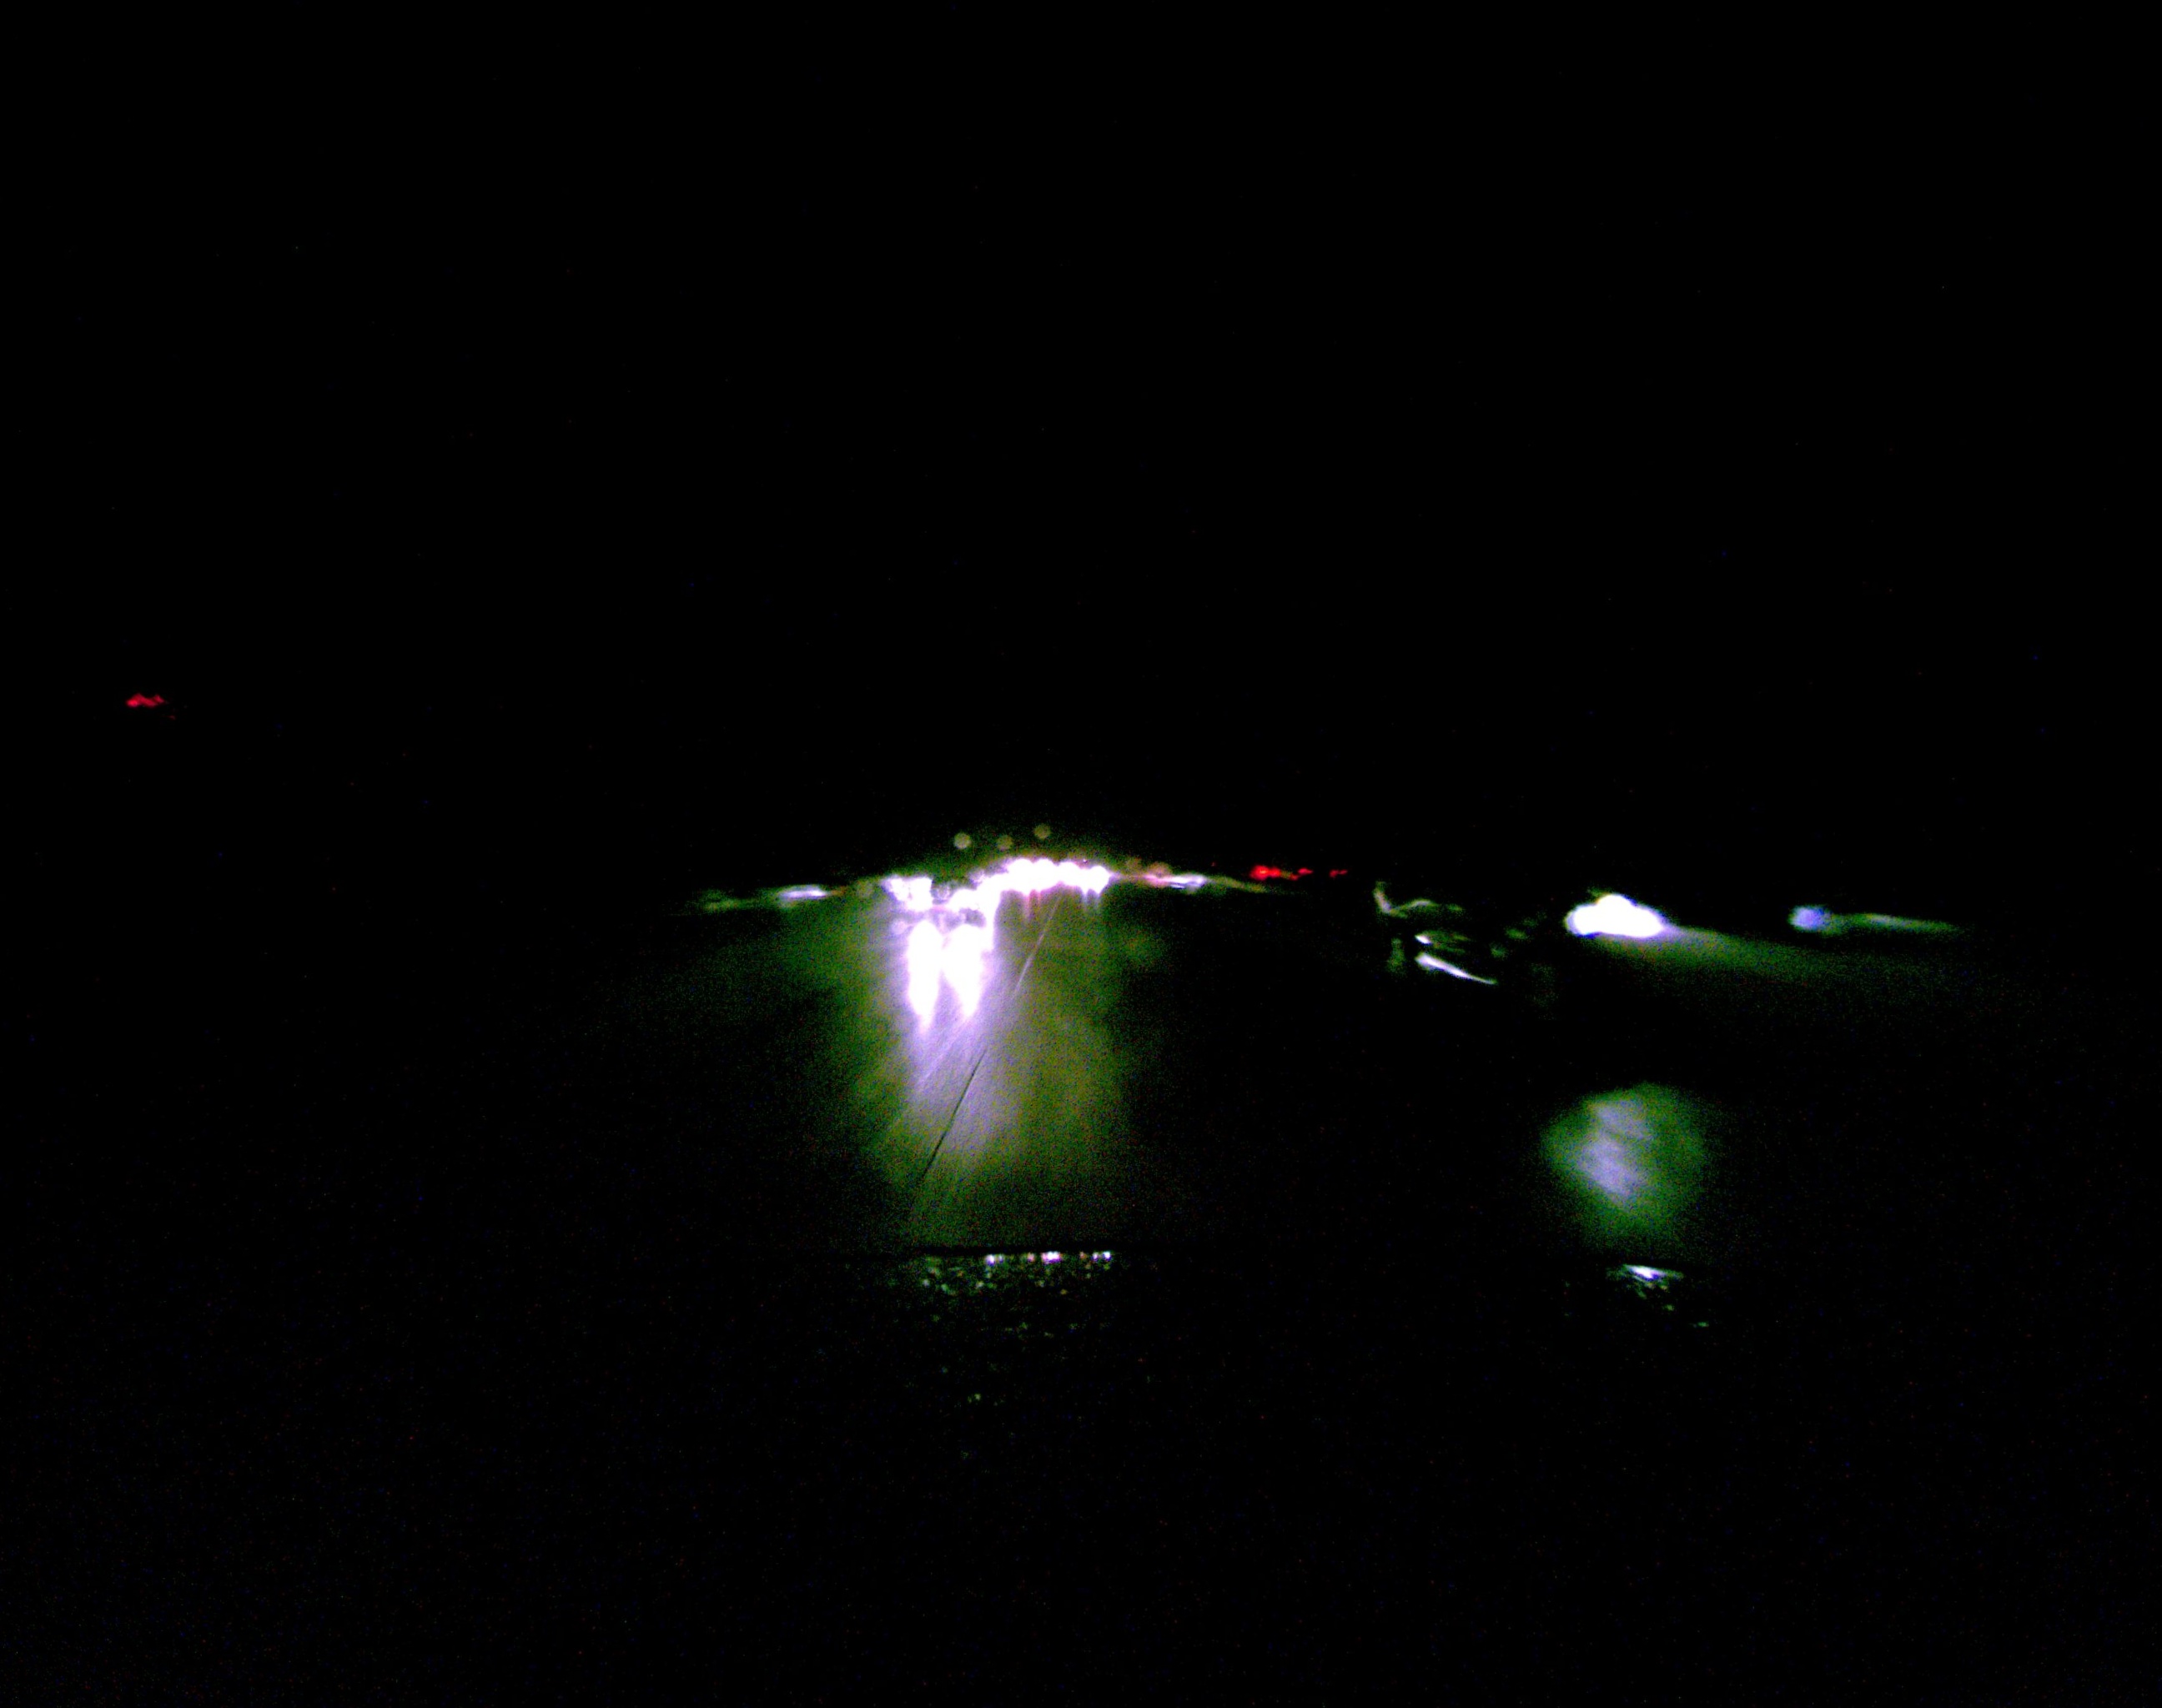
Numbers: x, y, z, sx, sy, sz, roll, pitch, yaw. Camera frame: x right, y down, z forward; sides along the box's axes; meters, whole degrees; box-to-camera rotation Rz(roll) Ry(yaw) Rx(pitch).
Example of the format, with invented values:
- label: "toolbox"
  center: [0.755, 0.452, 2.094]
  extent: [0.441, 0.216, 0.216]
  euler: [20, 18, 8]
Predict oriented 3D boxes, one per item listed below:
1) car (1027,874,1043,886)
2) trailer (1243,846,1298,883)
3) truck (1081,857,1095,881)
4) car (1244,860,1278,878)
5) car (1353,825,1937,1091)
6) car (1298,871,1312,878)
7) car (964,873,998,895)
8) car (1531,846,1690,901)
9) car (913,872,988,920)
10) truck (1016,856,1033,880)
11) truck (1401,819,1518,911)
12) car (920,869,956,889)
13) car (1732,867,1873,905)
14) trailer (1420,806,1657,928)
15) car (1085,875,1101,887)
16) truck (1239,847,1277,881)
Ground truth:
- label: "car"
  center: [-5.535, 3.148, 91.482]
  extent: [1.712, 1.286, 3.991]
  euler: [1, -3, -6]
- label: "trailer"
  center: [20.597, 1.079, 83.358]
  extent: [2.703, 3.726, 12.019]
  euler: [1, 0, -1]
- label: "truck"
  center: [1.292, 2.741, 142.627]
  extent: [2.503, 4.222, 5.981]
  euler: [1, 0, -1]
- label: "car"
  center: [16.736, 1.365, 70.829]
  extent: [1.999, 1.589, 4.593]
  euler: [1, 0, 0]
- label: "car"
  center: [5.017, 0.751, 8.183]
  extent: [2.142, 1.873, 5.555]
  euler: [-1, 0, 0]
- label: "car"
  center: [39.741, 3.653, 134.675]
  extent: [1.489, 1.277, 3.555]
  euler: [-2, -1, 1]
- label: "car"
  center: [-7.210, 2.171, 55.323]
  extent: [1.999, 1.440, 4.336]
  euler: [-3, -2, -2]
- label: "car"
  center: [17.232, 0.602, 25.087]
  extent: [1.999, 1.589, 4.593]
  euler: [1, 0, 0]
- label: "car"
  center: [-4.747, 1.482, 28.340]
  extent: [2.063, 1.510, 5.015]
  euler: [-2, -1, -2]
- label: "truck"
  center: [-10.154, 2.410, 135.258]
  extent: [2.767, 4.197, 6.191]
  euler: [1, 0, -5]
- label: "truck"
  center: [21.712, 0.590, 44.131]
  extent: [2.930, 4.821, 7.577]
  euler: [1, 0, 0]
- label: "car"
  center: [-11.364, 1.959, 60.629]
  extent: [1.723, 1.488, 4.046]
  euler: [-2, -2, 4]
- label: "car"
  center: [30.170, 1.297, 31.997]
  extent: [1.563, 1.369, 4.594]
  euler: [1, 0, 0]
- label: "trailer"
  center: [21.678, 0.560, 37.874]
  extent: [2.930, 4.821, 14.580]
  euler: [1, 0, 0]
- label: "car"
  center: [1.428, 3.307, 92.464]
  extent: [1.712, 1.286, 3.992]
  euler: [1, -3, -2]
- label: "truck"
  center: [20.501, 1.100, 88.528]
  extent: [2.703, 3.737, 6.453]
  euler: [1, 0, -1]
